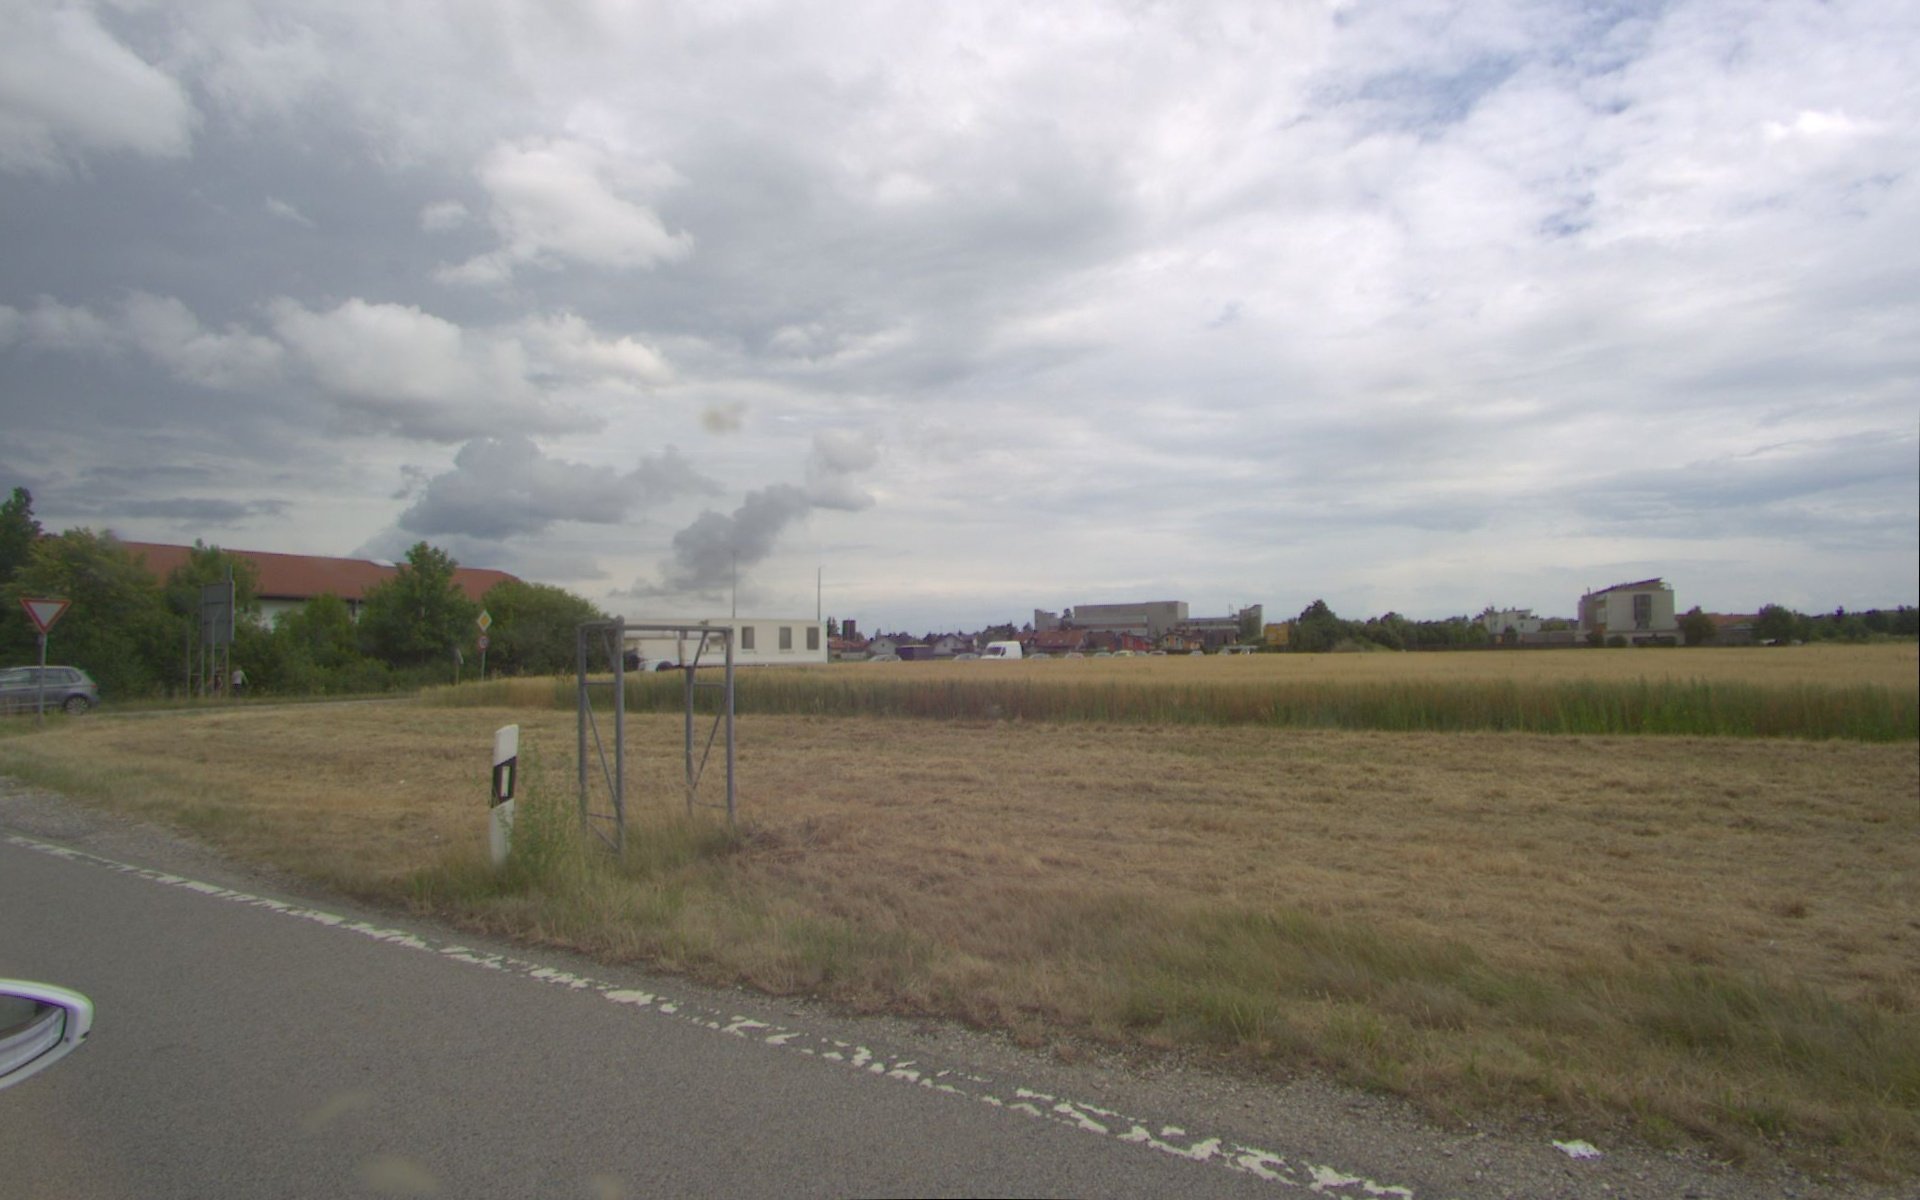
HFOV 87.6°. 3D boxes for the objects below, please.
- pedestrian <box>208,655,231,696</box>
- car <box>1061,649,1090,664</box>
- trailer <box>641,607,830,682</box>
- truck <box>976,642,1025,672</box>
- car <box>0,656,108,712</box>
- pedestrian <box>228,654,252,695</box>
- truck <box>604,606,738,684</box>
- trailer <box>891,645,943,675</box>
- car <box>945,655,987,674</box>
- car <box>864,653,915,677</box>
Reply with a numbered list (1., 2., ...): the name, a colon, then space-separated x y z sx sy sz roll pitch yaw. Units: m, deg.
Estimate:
1. pedestrian: -32.038 3.259 43.336 0.521 1.704 0.626 -1 -1 24
2. car: 12.616 6.160 109.530 1.828 1.485 3.985 -2 -3 28
3. trailer: -13.461 2.815 62.294 3.082 4.063 13.835 -3 -4 29
4. truck: 3.790 5.289 92.845 1.971 2.606 5.993 -3 -4 29
5. car: -29.518 2.602 31.150 1.970 1.622 4.206 -1 -2 30
6. pedestrian: -30.758 3.169 42.785 0.521 1.704 0.626 -1 -1 24
7. truck: -16.321 2.591 57.136 3.083 4.063 7.280 -3 -4 29
8. trailer: -3.409 4.790 80.179 2.379 2.320 4.383 -3 -3 26
9. car: 0.573 5.575 87.221 1.969 1.505 4.286 -2 -3 27
10. car: -5.325 4.927 76.152 1.968 1.703 4.466 -3 -3 25
